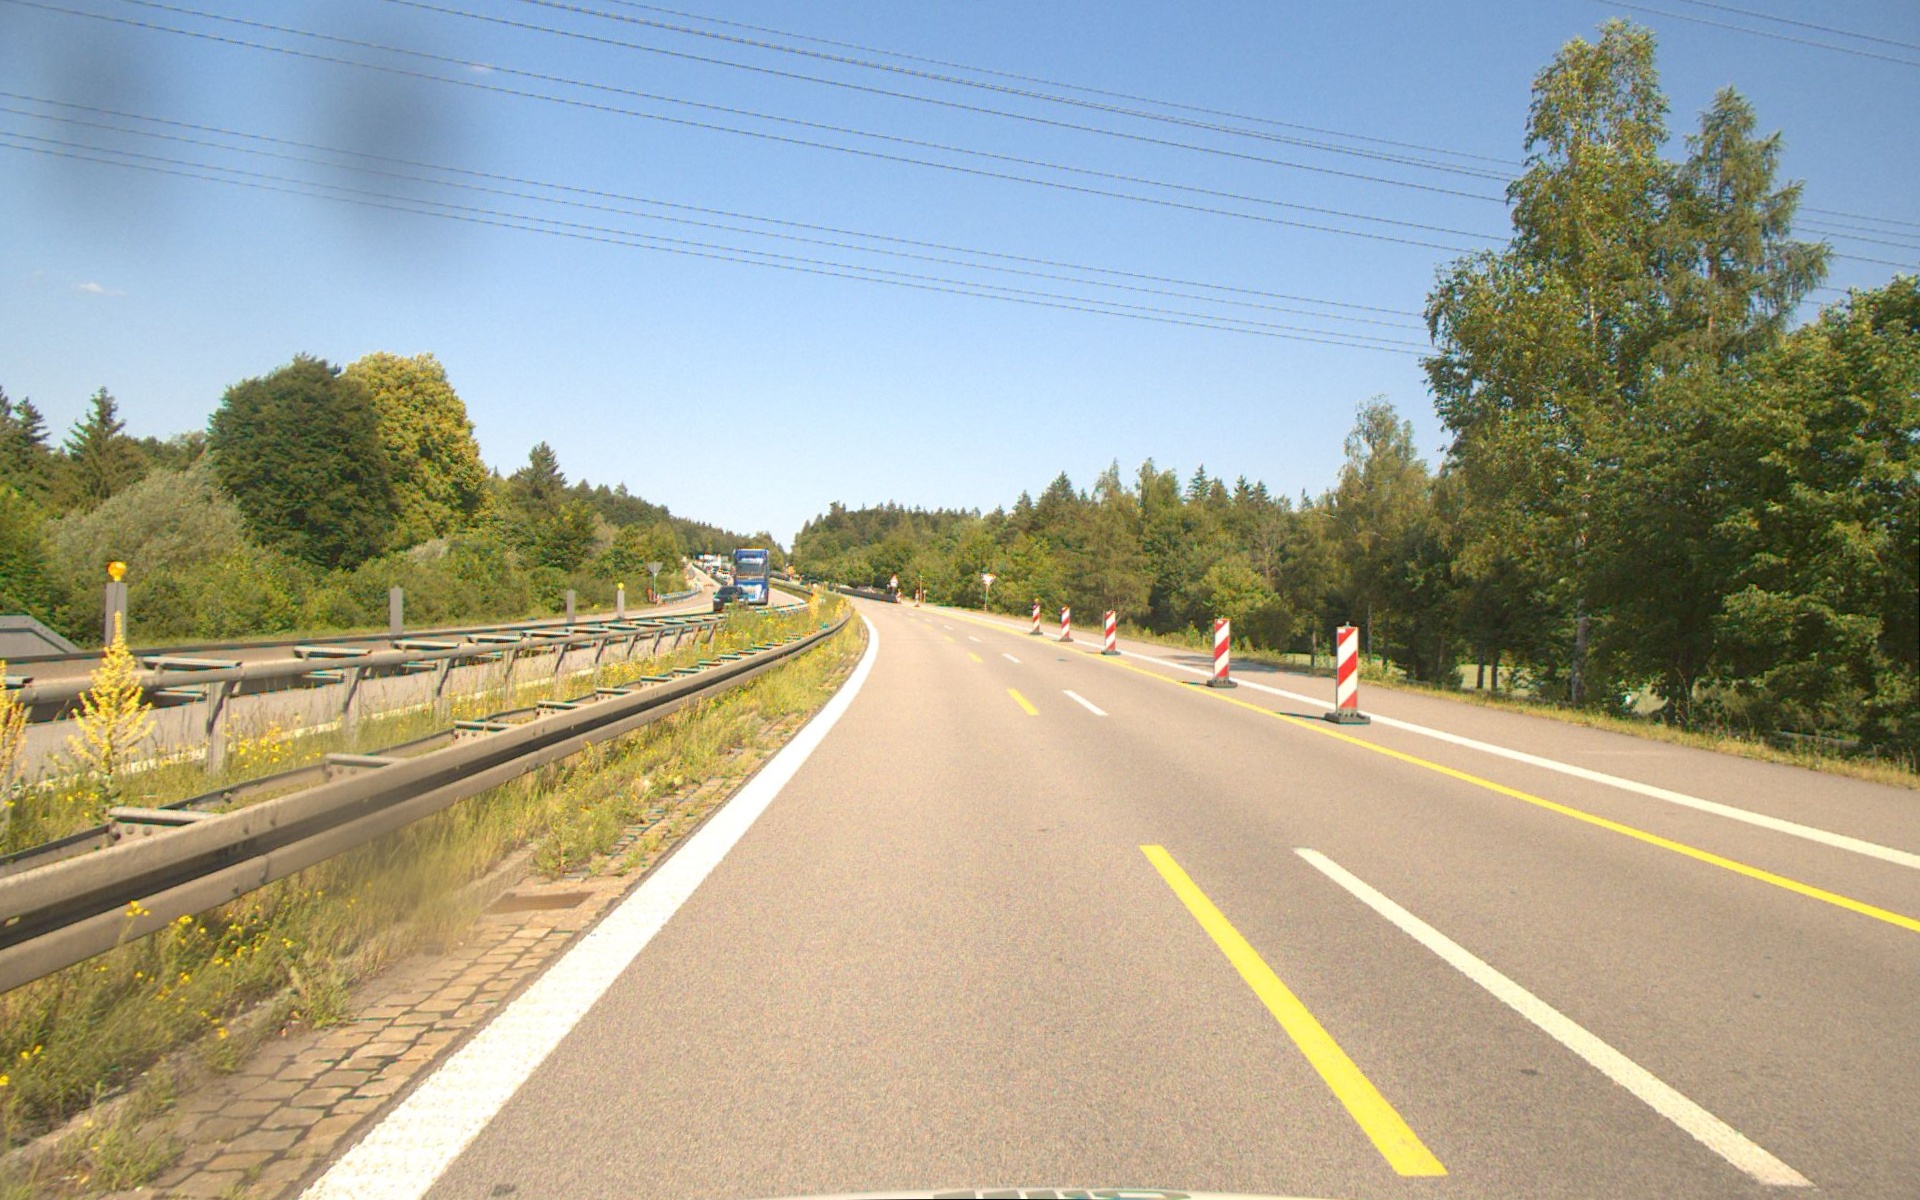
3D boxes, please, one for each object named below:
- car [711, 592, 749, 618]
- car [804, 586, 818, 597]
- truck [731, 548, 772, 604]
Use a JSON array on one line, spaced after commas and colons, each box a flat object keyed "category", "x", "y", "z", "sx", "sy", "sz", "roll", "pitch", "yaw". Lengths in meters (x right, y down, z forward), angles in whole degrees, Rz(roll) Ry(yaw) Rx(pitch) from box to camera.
[{"category": "car", "x": -13.081, "y": 0.257, "z": 94.282, "sx": 1.742, "sy": 1.454, "sz": 4.266, "roll": 0, "pitch": 0, "yaw": -3}, {"category": "car", "x": -23.485, "y": -1.366, "z": 260.768, "sx": 1.712, "sy": 1.491, "sz": 4.284, "roll": 3, "pitch": 1, "yaw": -10}, {"category": "truck", "x": -15.308, "y": -1.718, "z": 121.962, "sx": 2.580, "sy": 4.029, "sz": 5.838, "roll": 1, "pitch": 0, "yaw": -4}]
